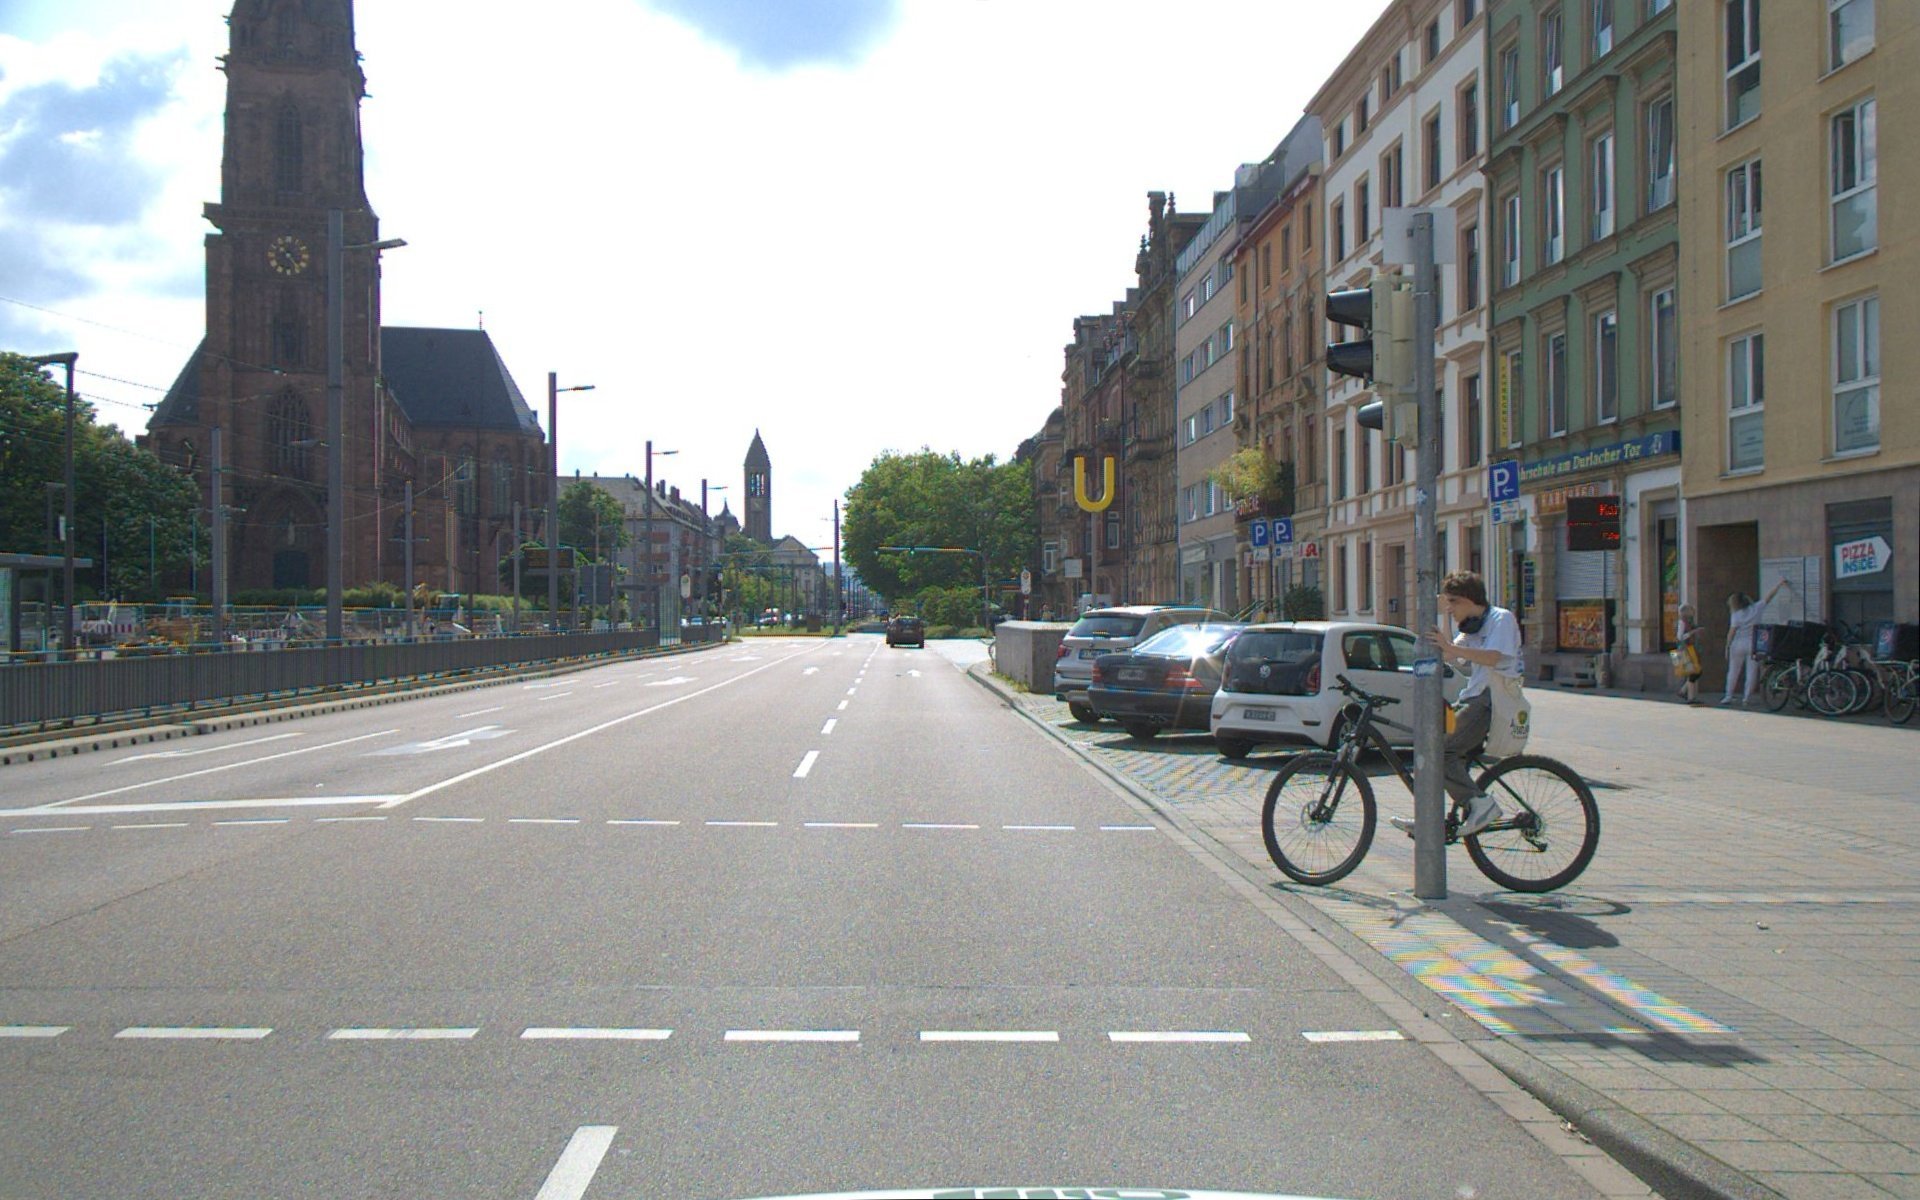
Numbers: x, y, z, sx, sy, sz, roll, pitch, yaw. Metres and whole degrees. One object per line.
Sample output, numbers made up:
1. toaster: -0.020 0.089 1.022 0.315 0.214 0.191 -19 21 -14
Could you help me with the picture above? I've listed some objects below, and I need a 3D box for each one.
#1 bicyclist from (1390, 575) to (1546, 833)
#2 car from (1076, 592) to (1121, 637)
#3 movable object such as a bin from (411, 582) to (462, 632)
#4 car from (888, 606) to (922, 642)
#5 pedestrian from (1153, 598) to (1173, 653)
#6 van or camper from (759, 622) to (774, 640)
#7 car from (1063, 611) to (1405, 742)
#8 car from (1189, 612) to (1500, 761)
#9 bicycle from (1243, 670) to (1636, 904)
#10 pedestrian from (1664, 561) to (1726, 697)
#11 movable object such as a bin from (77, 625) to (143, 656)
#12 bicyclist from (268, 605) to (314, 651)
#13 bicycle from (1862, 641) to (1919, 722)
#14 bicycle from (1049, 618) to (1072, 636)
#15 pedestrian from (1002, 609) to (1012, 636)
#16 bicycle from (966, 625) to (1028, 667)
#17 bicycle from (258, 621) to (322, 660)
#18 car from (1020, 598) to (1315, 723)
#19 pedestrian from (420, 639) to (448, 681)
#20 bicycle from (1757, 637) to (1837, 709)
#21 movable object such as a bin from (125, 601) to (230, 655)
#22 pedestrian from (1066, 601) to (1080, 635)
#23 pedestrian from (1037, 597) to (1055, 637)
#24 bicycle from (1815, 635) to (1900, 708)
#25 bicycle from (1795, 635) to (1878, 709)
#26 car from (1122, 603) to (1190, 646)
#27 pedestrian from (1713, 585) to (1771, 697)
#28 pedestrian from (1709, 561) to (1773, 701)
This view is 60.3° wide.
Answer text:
1. bicyclist: 2.801 0.546 9.117 0.766 1.359 0.394 0 1 27
2. car: 8.126 0.840 97.774 1.953 2.570 5.885 0 -1 -2
3. movable object such as a bin: -34.826 0.454 110.090 1.952 3.159 4.002 0 2 2
4. car: -2.921 1.232 87.250 1.655 1.741 3.606 0 2 -4
5. pedestrian: 8.125 1.016 66.260 0.706 2.136 0.786 0 1 -2
6. van or camper: -29.739 4.732 254.129 2.212 2.786 6.195 -1 -1 -6
7. car: 3.565 0.895 20.993 4.561 1.486 1.909 1 -1 -42
8. car: 4.292 0.895 18.257 3.468 1.479 1.751 1 -2 -43
9. bicycle: 2.652 0.997 9.221 2.051 1.125 0.544 0 2 25
10. pedestrian: 11.457 0.447 25.804 0.590 2.047 0.460 -6 1 -2
11. movable object such as a bin: -43.917 2.068 85.535 1.960 1.529 5.134 0 -1 -15
12. bicyclist: -25.710 1.078 63.550 1.154 1.713 1.683 -1 -1 -4
13. bicycle: 11.812 1.016 20.574 0.286 0.938 1.463 0 1 -5
14. bicycle: 7.407 1.980 121.793 1.709 1.290 0.467 0 1 1
15. pedestrian: 3.576 1.708 125.694 0.752 2.049 0.715 -1 -1 -2
16. bicycle: 1.160 1.441 52.042 1.892 1.259 0.439 -1 1 -16
17. bicycle: -25.712 1.530 63.527 1.170 1.452 3.690 -1 -1 -4
18. car: 3.184 0.825 24.735 2.027 1.676 4.563 -1 -1 45
19. pedestrian: -26.605 3.031 83.646 1.043 2.049 1.051 -1 -1 1
20. bicycle: 11.746 1.014 23.245 0.286 0.938 1.463 0 0 -5
21. movable object such as a bin: -44.415 1.575 93.967 5.043 2.962 1.995 -1 -1 -10
22. pedestrian: 6.280 0.998 91.802 0.650 1.869 0.693 -1 -1 -9
23. pedestrian: 4.191 0.852 80.727 0.653 1.936 0.690 -1 -1 -21
24. bicycle: 12.511 0.979 23.089 0.286 0.938 1.463 0 0 -5
25. bicycle: 12.200 0.994 23.066 0.286 0.938 1.463 0 1 -5
26. car: 8.905 1.123 75.457 1.956 1.895 4.744 -1 -1 -8
27. pedestrian: 11.949 0.621 25.284 0.589 1.647 0.460 -3 1 -2
28. pedestrian: 11.876 0.463 25.163 0.590 2.047 0.460 -6 1 -2
